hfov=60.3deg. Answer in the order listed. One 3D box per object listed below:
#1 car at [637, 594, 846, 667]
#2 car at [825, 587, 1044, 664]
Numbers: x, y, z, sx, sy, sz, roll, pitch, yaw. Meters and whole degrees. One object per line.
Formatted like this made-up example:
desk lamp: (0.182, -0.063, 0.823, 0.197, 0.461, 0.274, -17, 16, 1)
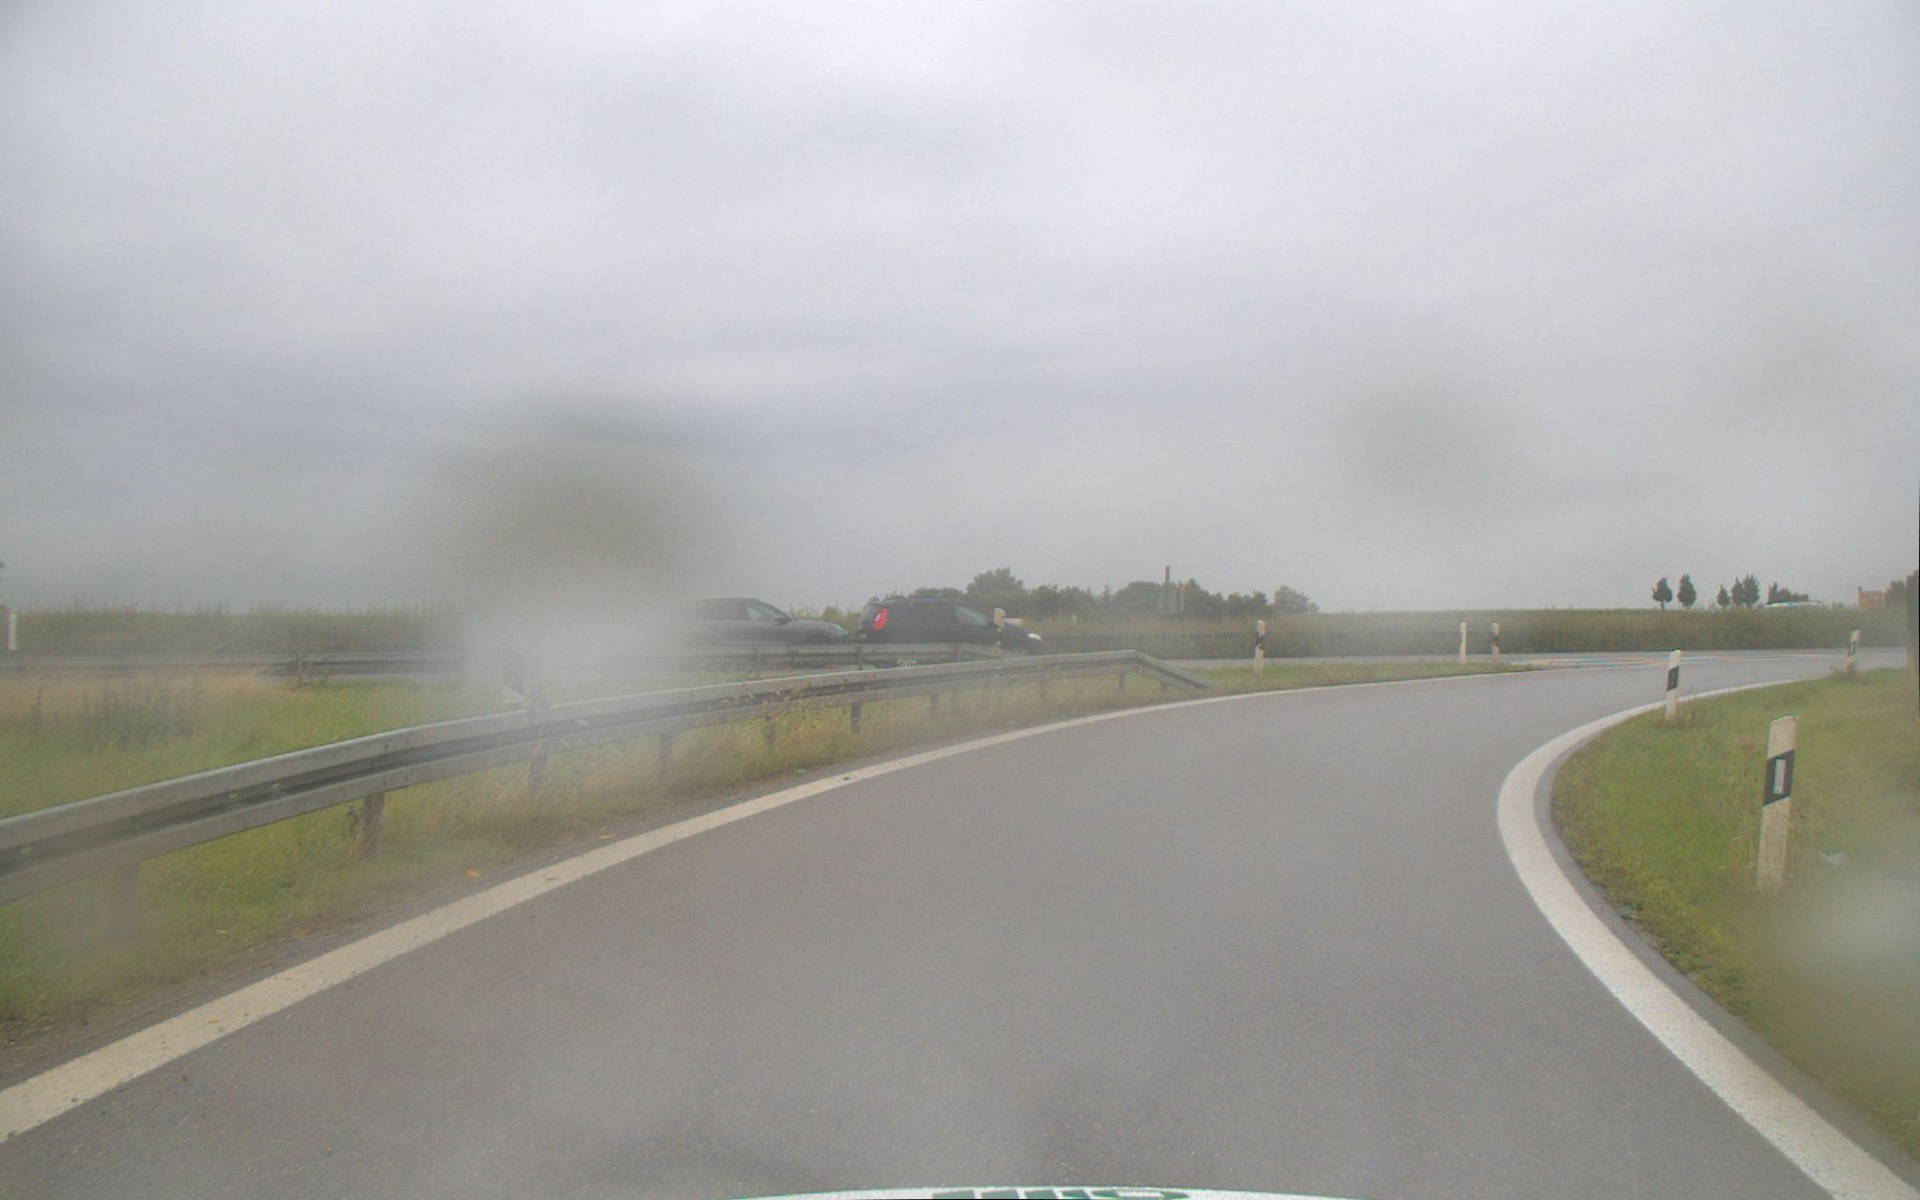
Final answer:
car: (-5.295, 0.717, 40.032, 4.712, 1.665, 2.047, 0, -1, -21)
car: (-0.592, 0.571, 37.370, 4.513, 1.665, 2.139, 1, 0, -21)
